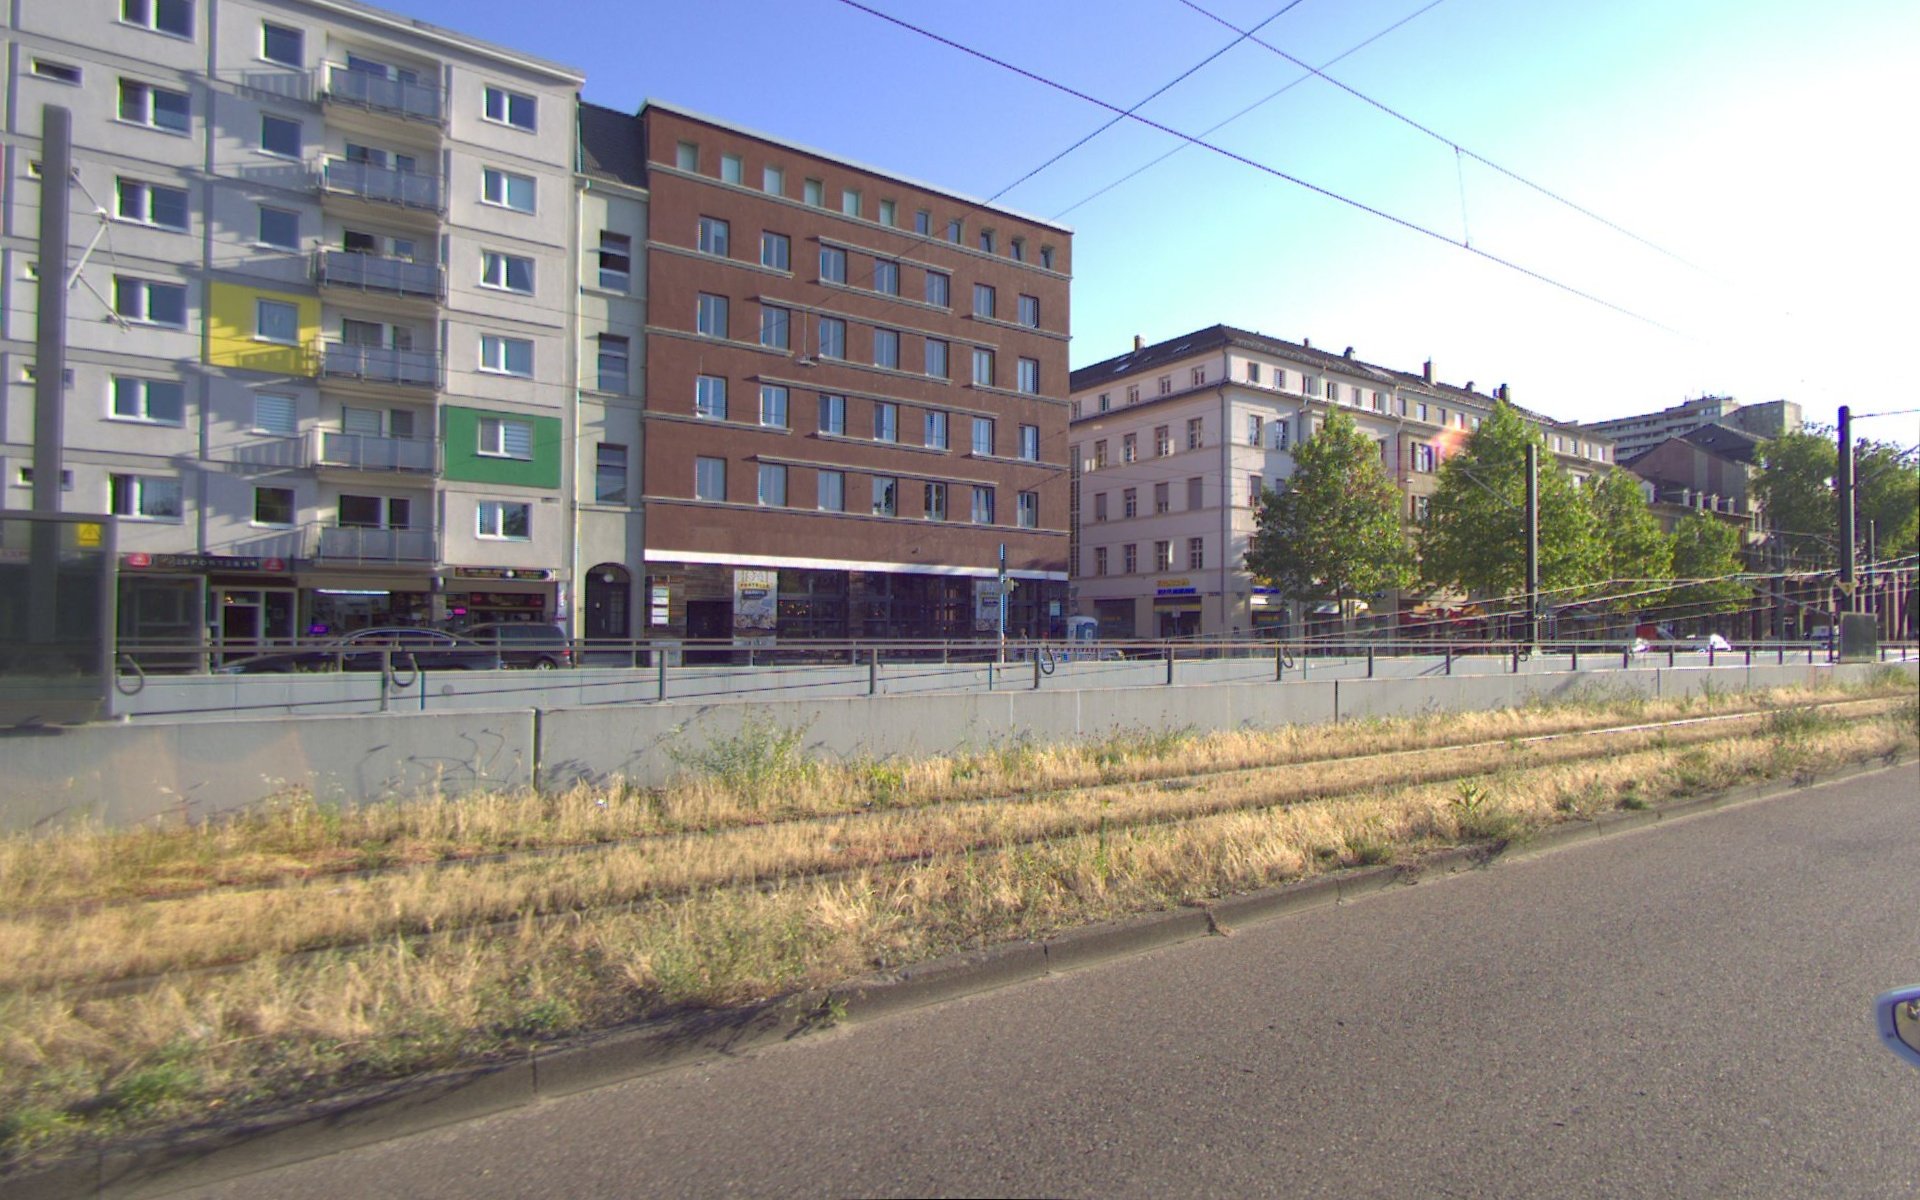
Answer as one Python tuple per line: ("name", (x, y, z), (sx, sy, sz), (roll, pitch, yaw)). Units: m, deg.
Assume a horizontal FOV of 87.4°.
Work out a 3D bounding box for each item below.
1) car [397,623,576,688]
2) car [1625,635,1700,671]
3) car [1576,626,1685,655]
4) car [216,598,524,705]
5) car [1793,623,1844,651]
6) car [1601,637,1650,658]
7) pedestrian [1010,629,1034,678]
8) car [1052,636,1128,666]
("car", (-14.238, 1.633, 30.295), (4.691, 1.821, 1.982), (1, -2, -33))
("car", (38.074, 2.840, 54.384), (4.935, 1.843, 1.978), (1, -2, -38))
("car", (56.025, 3.344, 84.052), (2.449, 2.296, 7.211), (2, -2, -38))
("car", (-11.103, 0.933, 19.222), (4.841, 1.821, 1.982), (1, -2, -33))
("car", (67.678, 2.892, 79.173), (4.525, 2.162, 1.941), (1, -2, -34))
("car", (45.527, 3.247, 68.676), (3.670, 1.350, 1.446), (2, 0, -33))
("pedestrian", (2.623, 2.241, 42.328), (0.764, 2.040, 0.694), (1, -2, -33))
("car", (6.648, 2.588, 51.705), (1.876, 1.505, 3.967), (1, -2, -31))
